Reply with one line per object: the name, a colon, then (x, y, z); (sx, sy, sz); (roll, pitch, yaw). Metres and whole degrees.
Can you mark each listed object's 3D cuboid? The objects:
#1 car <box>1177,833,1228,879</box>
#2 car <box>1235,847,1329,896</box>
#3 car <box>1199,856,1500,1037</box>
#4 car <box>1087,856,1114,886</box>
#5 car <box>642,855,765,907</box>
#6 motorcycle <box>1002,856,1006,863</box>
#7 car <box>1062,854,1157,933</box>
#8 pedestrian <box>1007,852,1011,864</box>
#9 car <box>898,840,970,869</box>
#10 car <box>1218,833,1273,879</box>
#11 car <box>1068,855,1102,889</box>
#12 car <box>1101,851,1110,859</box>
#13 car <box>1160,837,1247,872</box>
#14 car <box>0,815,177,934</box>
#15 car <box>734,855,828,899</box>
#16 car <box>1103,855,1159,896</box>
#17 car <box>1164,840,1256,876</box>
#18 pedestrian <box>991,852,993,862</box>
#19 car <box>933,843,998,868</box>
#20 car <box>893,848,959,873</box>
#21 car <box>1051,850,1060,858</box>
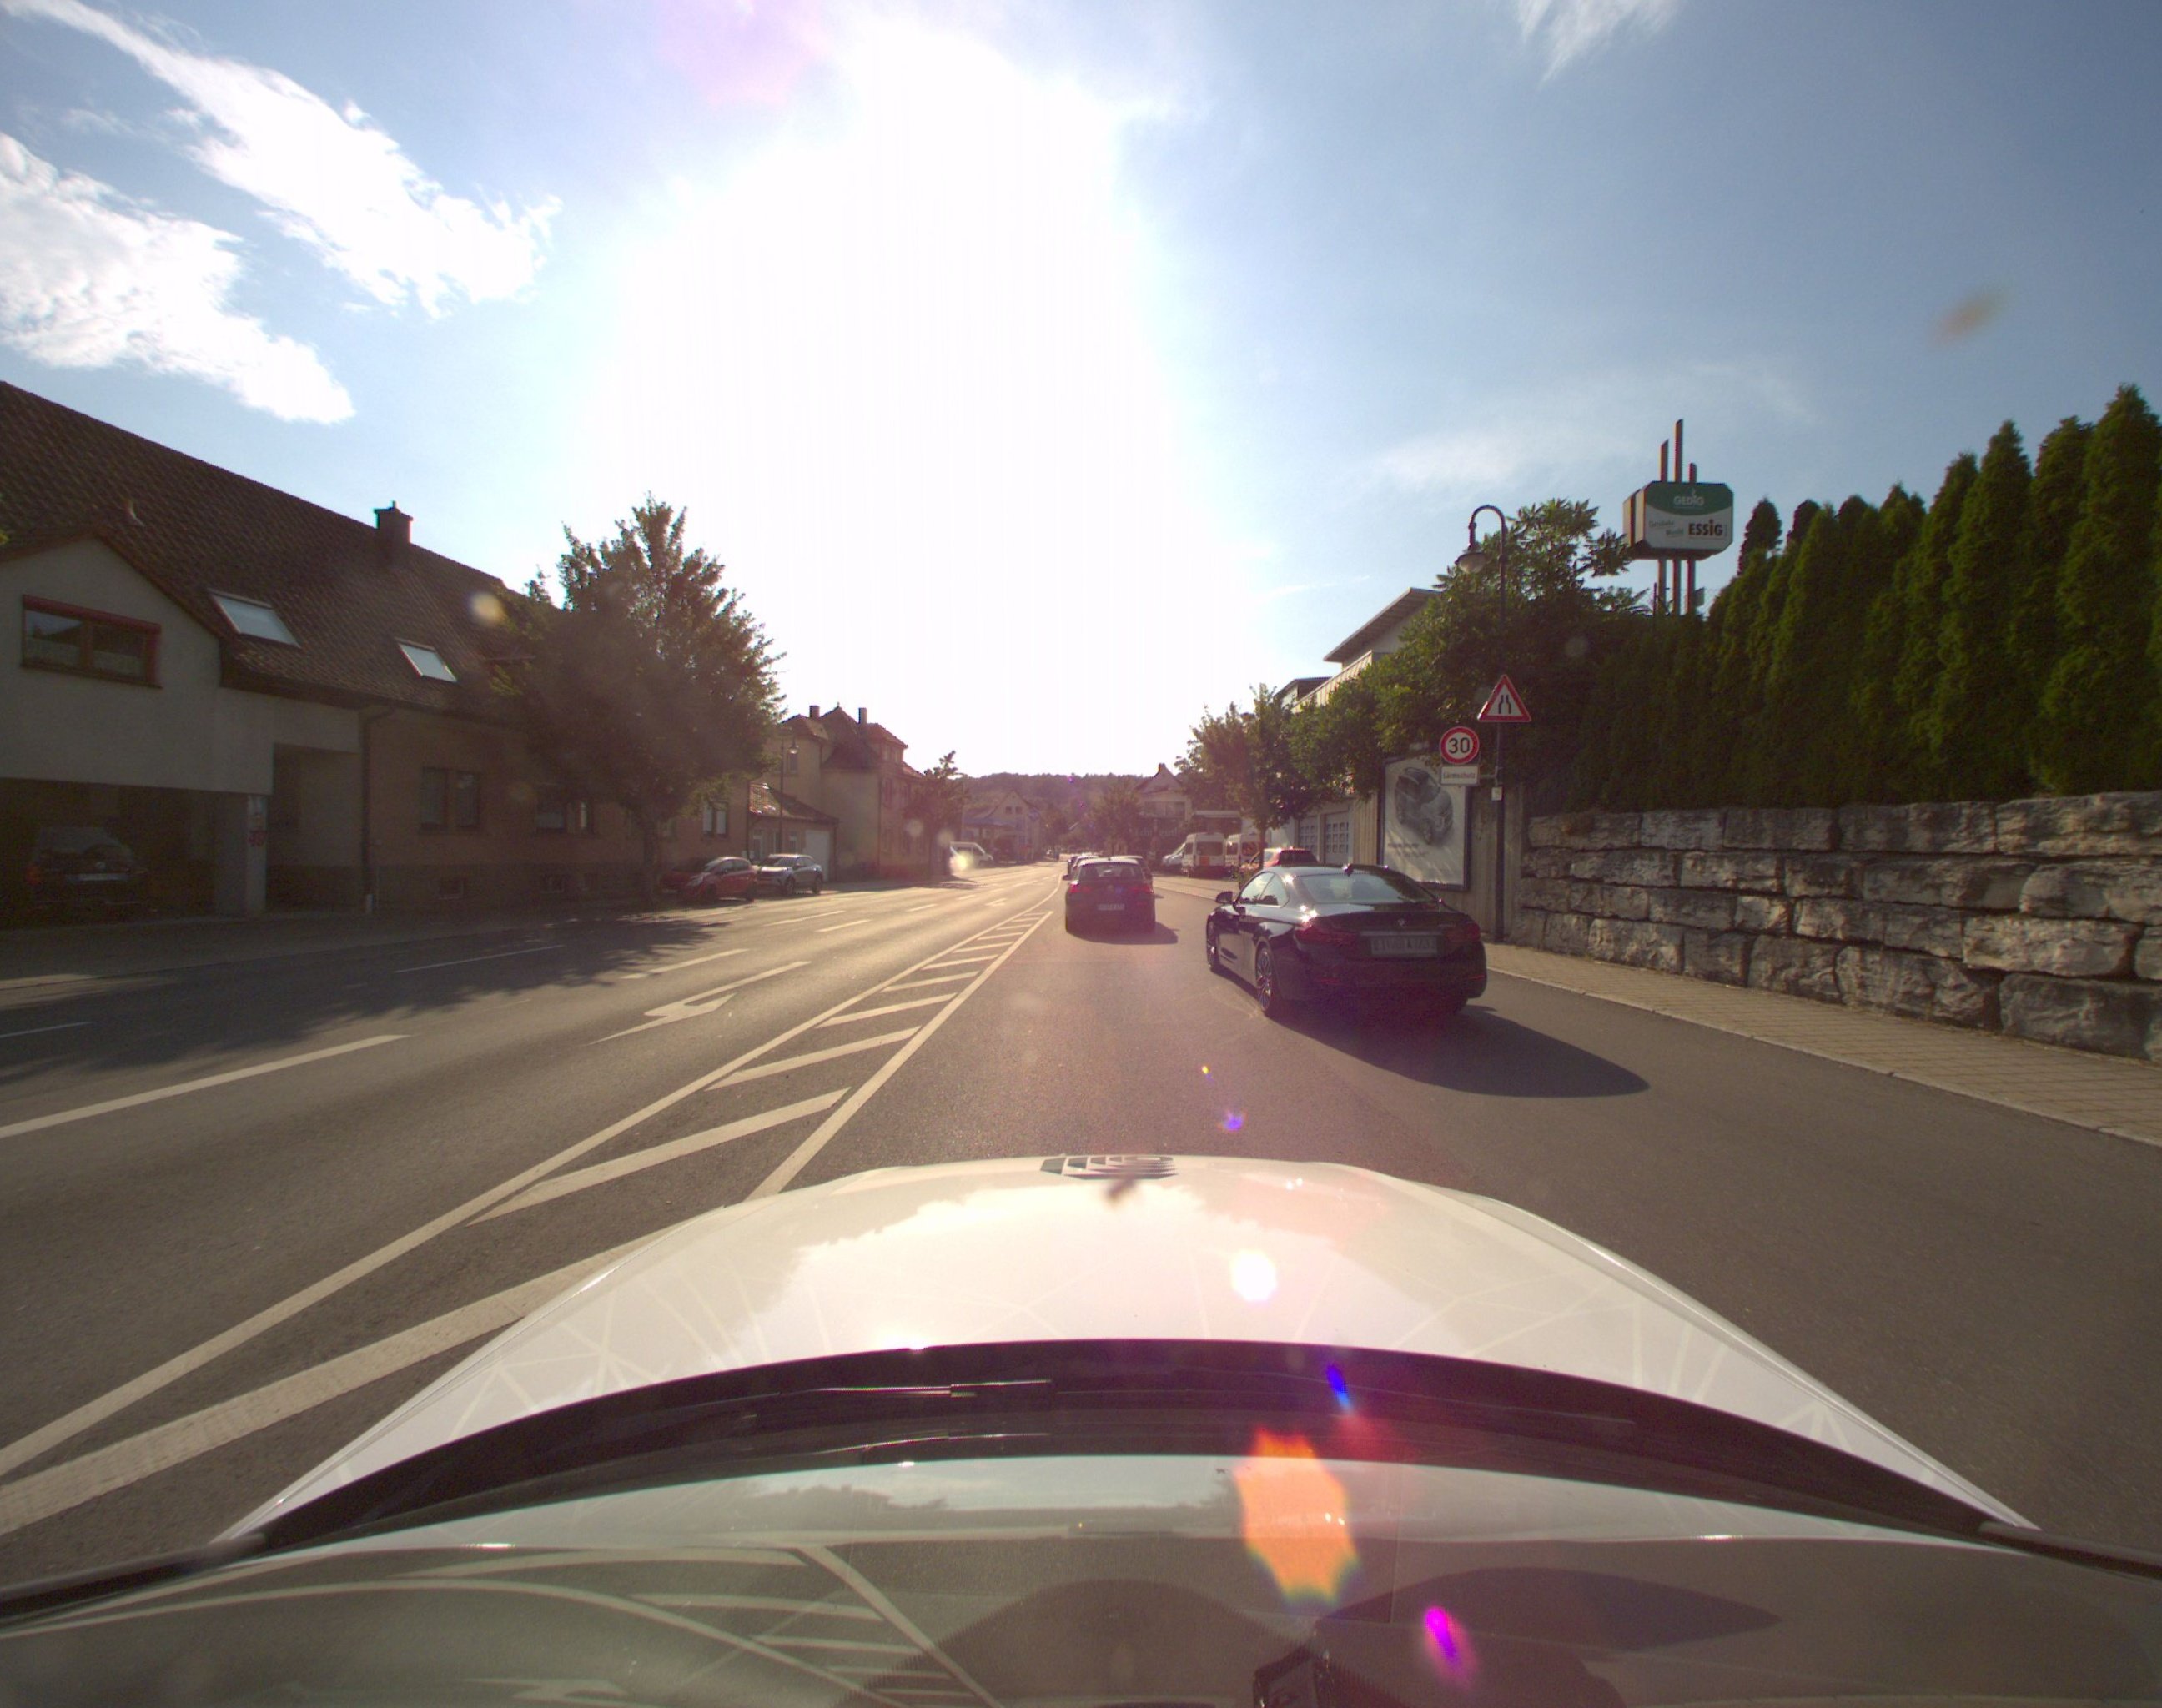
car: (7.573, 0.091, 51.412); (2.143, 2.680, 6.601); (0, 0, -1)
car: (7.128, 0.583, 29.431); (1.832, 1.649, 4.527); (0, 0, -7)
car: (2.470, 0.740, 8.668); (1.695, 1.369, 4.259); (-1, 1, -2)
car: (1.266, 1.046, 50.904); (1.596, 1.767, 3.413); (0, 0, 3)
car: (-12.110, 0.813, 26.421); (1.657, 1.487, 4.008); (3, 0, 7)
motorcycle: (-10.716, 0.740, 113.279); (0.362, 0.943, 1.695); (0, 0, -1)
car: (0.582, 0.735, 16.973); (1.765, 1.456, 3.517); (-1, 0, 2)
pedestrian: (-10.072, 0.533, 113.623); (0.609, 1.670, 0.442); (0, 0, -3)
car: (-13.128, 0.000, 72.932); (5.892, 2.480, 2.197); (1, 1, 4)
car: (10.329, 0.112, 51.625); (2.105, 2.722, 6.440); (0, 0, -1)
car: (0.240, 0.874, 41.633); (1.586, 1.600, 3.895); (0, 0, 2)
car: (4.425, 0.138, 147.886); (1.592, 1.485, 3.474); (1, 0, -1)
car: (8.848, 0.015, 59.250); (6.028, 2.516, 2.042); (0, 0, -2)
car: (-18.352, 0.280, 13.961); (3.804, 1.881, 1.781); (2, 0, 4)
car: (-11.482, 0.839, 31.502); (1.747, 1.479, 4.007); (3, 1, 6)
car: (1.868, 0.786, 31.106); (1.750, 1.414, 3.418); (0, 0, -3)
car: (8.892, 0.251, 56.294); (6.028, 2.363, 2.042); (0, 0, -2)
pedestrian: (-12.250, 0.415, 112.482); (0.262, 1.383, 0.286); (0, 0, -15)
car: (-11.695, 0.107, 82.686); (6.138, 2.444, 2.249); (1, 0, 0)
car: (-12.806, 0.498, 67.434); (4.955, 1.999, 1.937); (1, 0, 3)
car: (-5.083, -0.081, 160.973); (1.592, 1.485, 3.474); (1, 0, -1)
